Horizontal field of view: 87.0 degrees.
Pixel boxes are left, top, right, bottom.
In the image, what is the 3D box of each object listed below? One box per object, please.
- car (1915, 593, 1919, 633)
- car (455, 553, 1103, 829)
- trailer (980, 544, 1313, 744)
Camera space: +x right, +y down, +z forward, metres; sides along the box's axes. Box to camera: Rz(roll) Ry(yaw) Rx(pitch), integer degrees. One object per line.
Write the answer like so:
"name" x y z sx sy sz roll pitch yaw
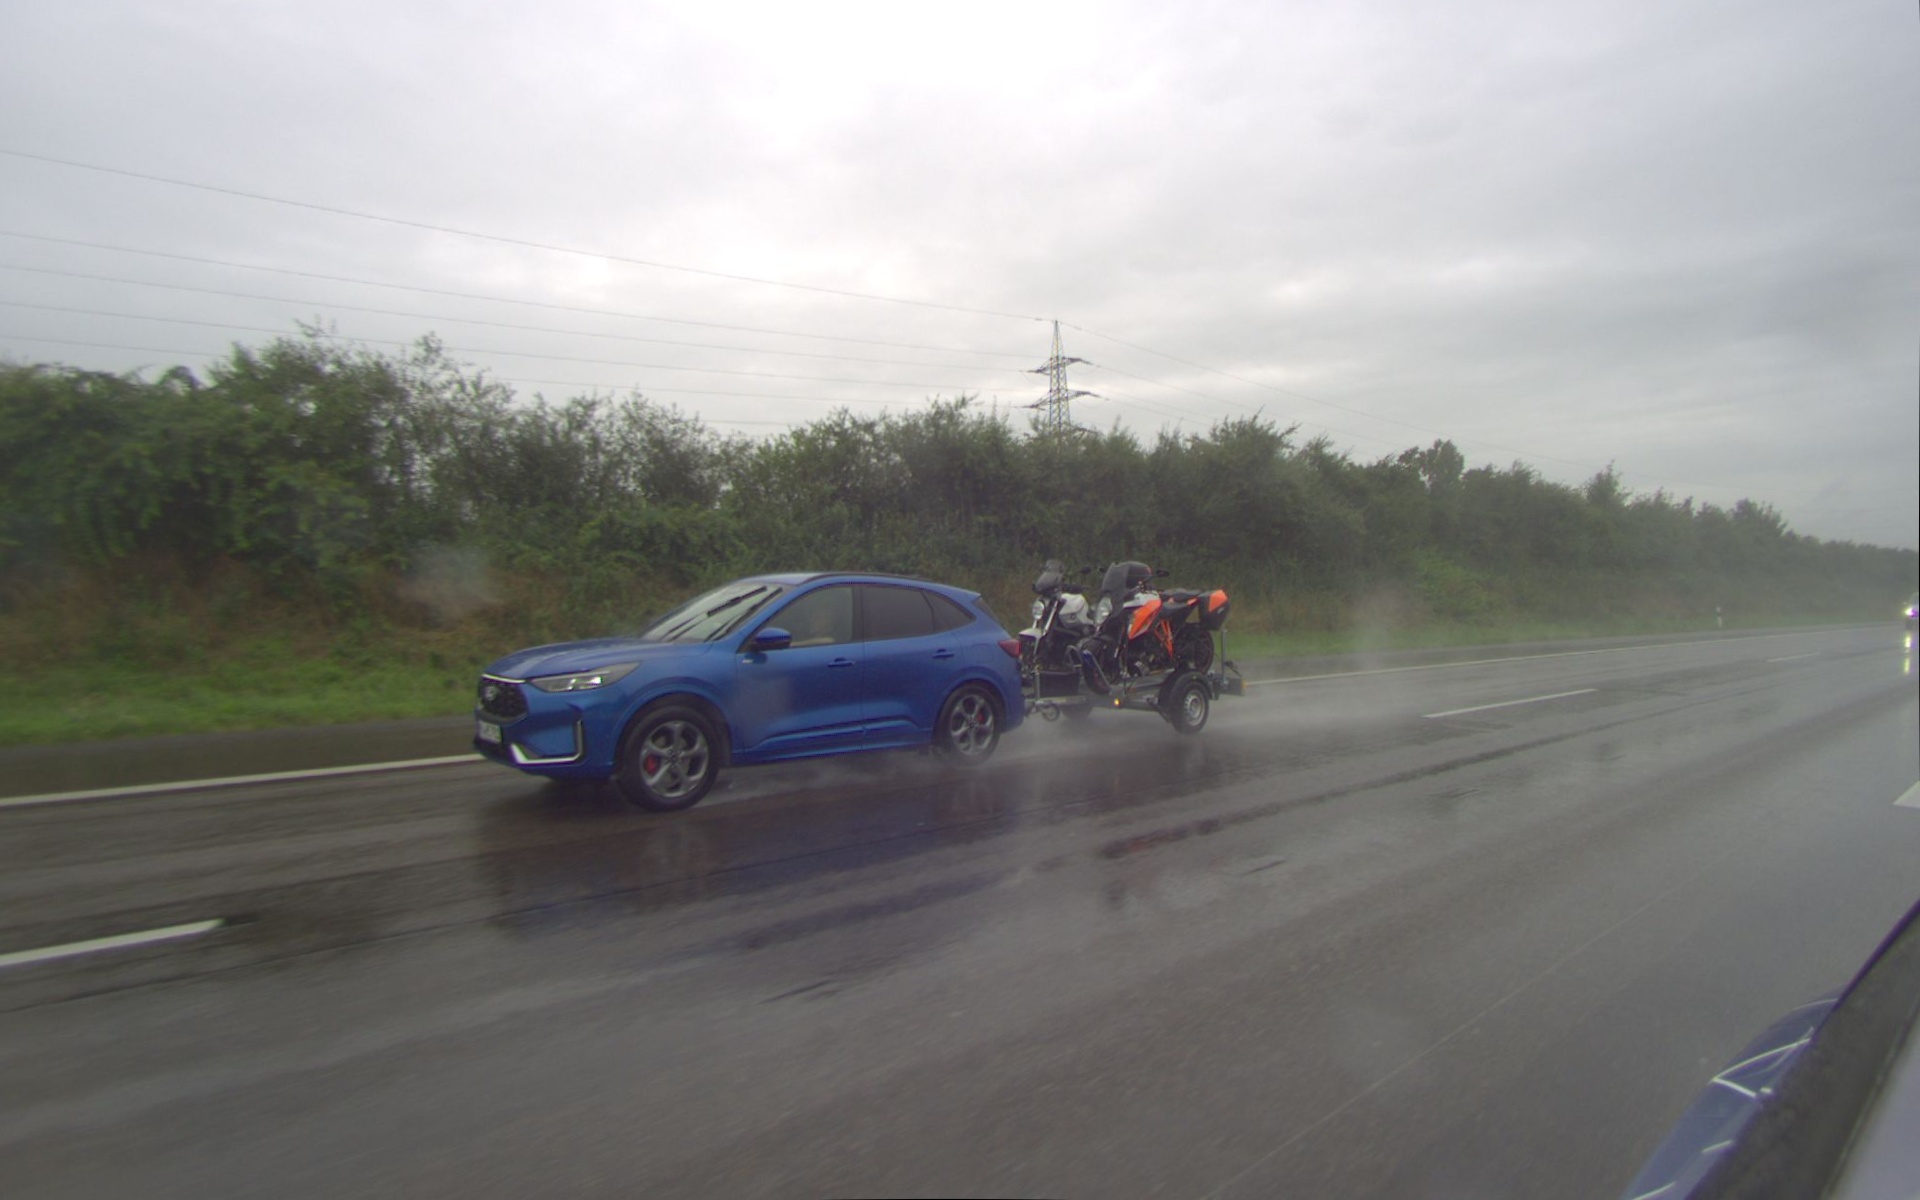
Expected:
"car" 51.425 0.694 52.737 3.930 2.039 1.997 1 -1 -41
"car" -1.259 0.505 8.323 4.901 1.639 1.999 -1 1 -38
"trailer" 2.044 0.370 10.924 3.130 1.807 1.984 -1 1 -38
